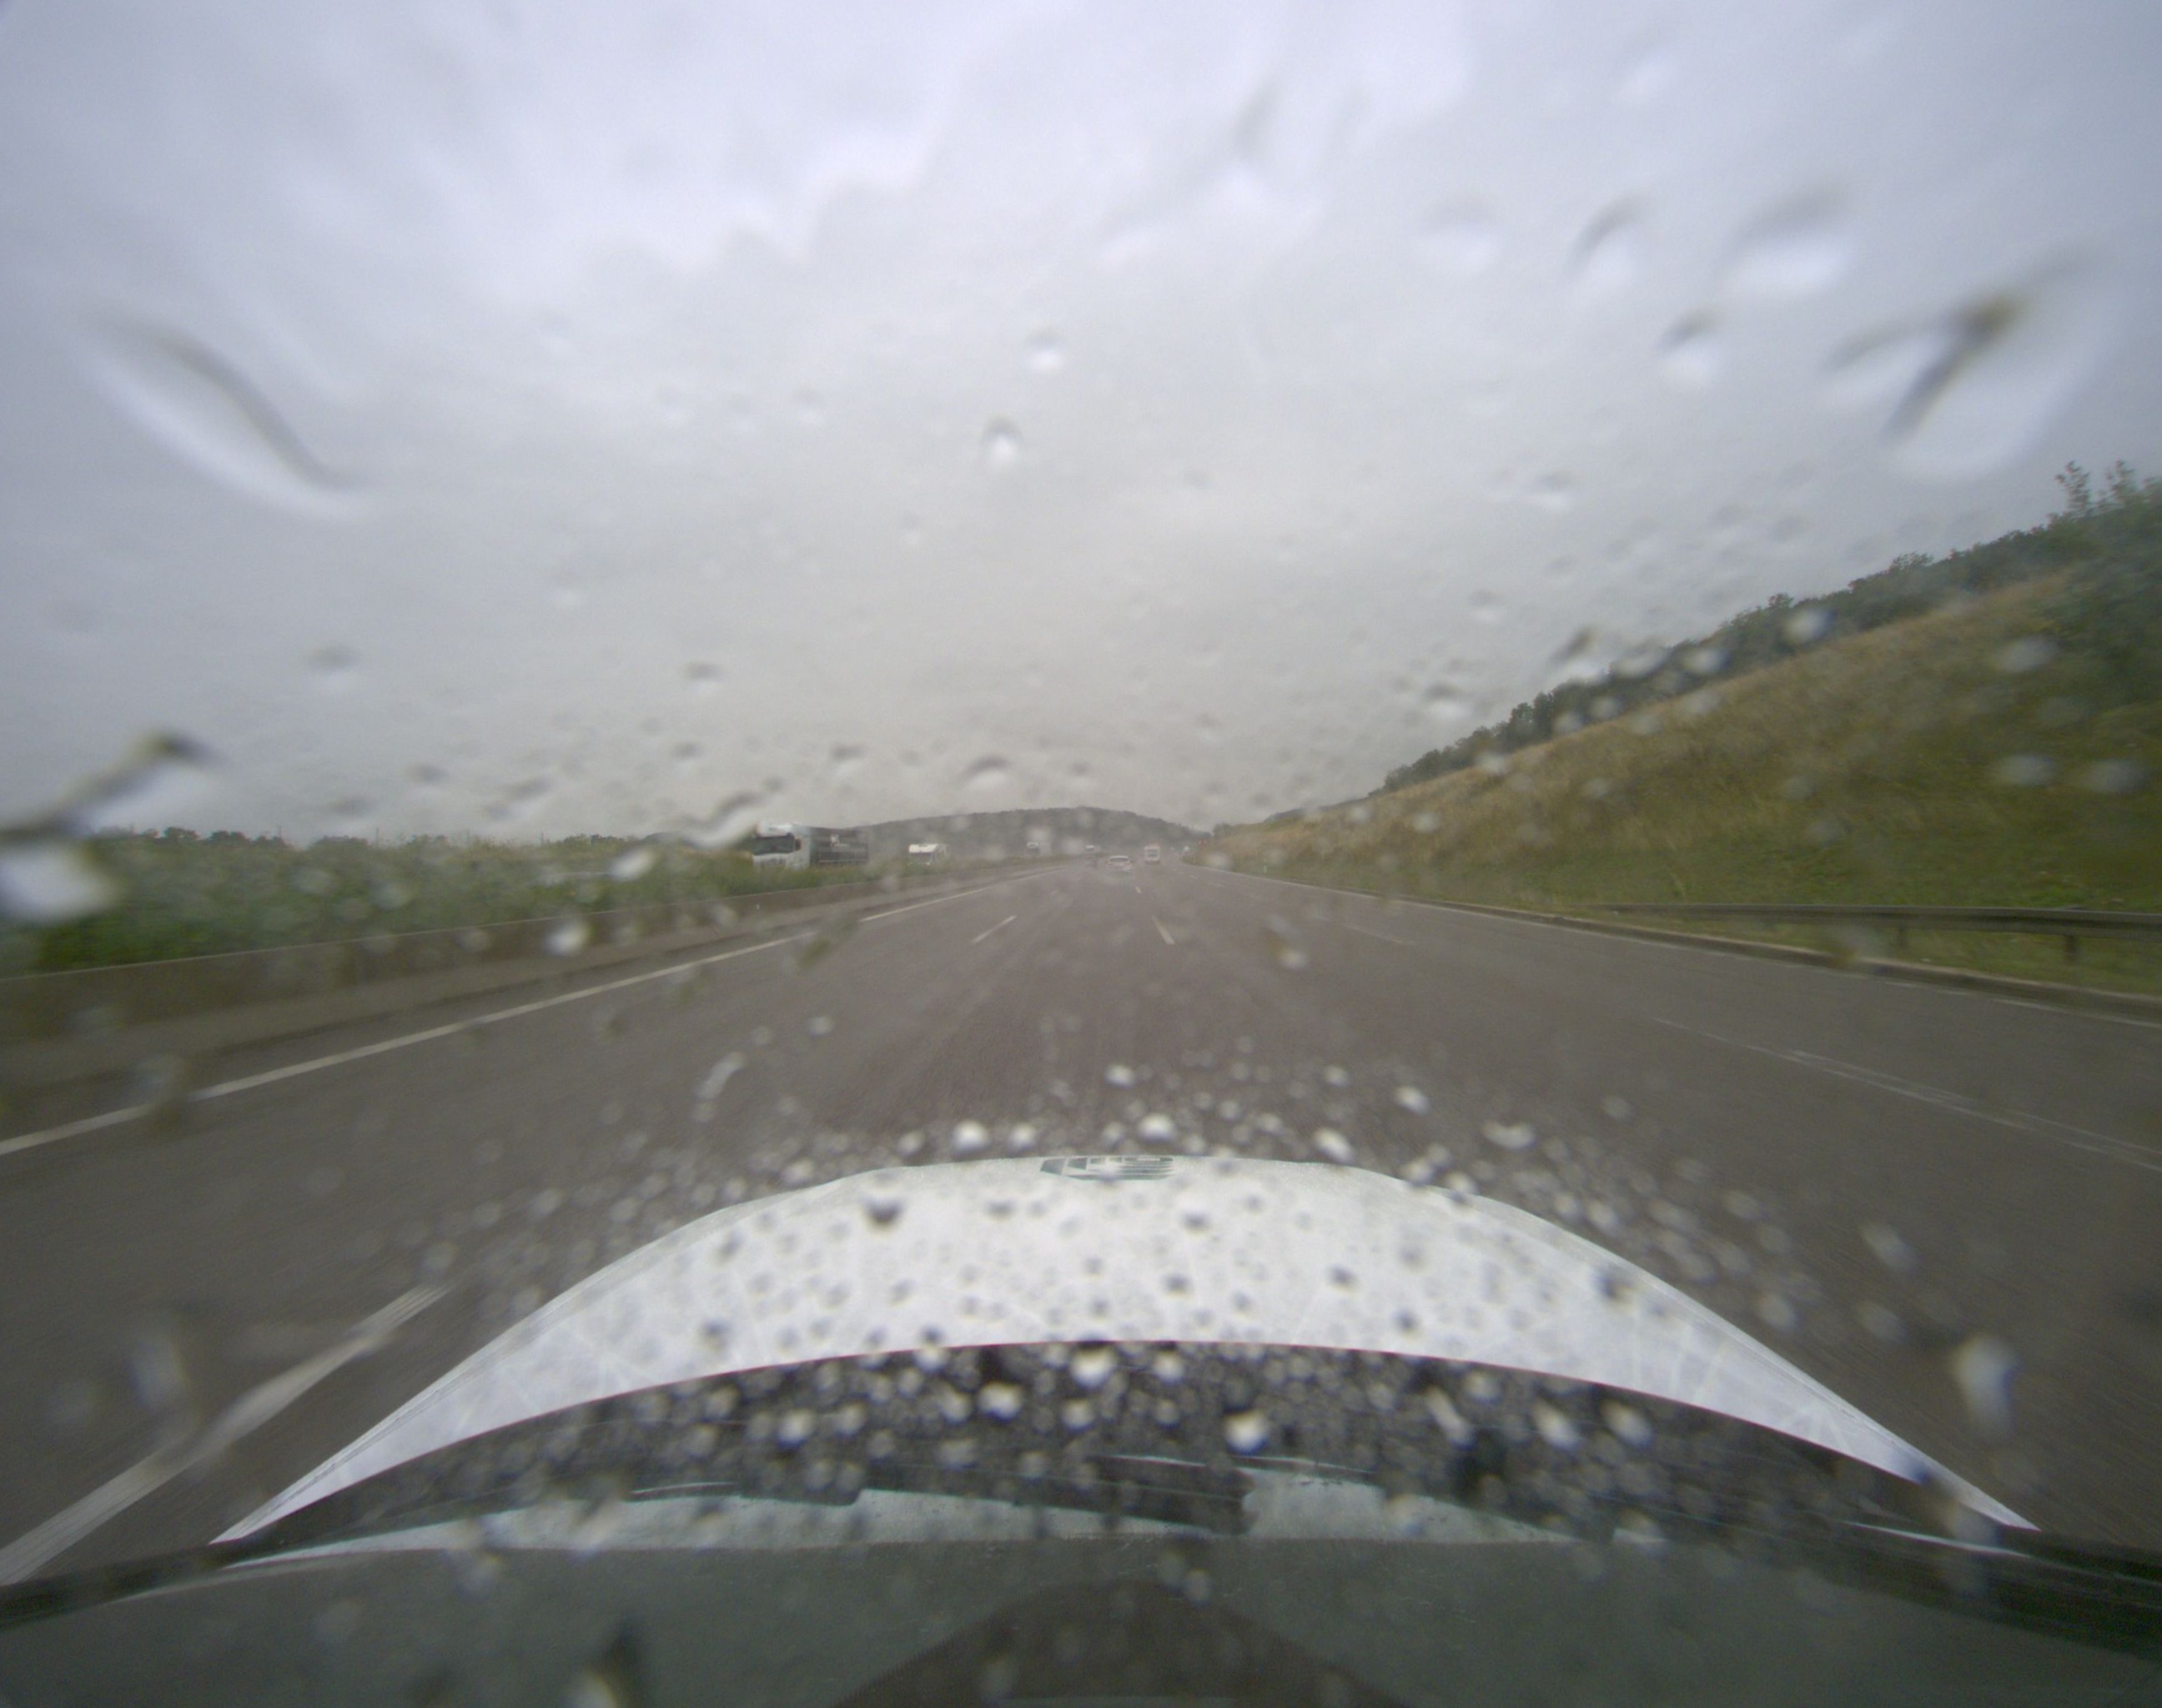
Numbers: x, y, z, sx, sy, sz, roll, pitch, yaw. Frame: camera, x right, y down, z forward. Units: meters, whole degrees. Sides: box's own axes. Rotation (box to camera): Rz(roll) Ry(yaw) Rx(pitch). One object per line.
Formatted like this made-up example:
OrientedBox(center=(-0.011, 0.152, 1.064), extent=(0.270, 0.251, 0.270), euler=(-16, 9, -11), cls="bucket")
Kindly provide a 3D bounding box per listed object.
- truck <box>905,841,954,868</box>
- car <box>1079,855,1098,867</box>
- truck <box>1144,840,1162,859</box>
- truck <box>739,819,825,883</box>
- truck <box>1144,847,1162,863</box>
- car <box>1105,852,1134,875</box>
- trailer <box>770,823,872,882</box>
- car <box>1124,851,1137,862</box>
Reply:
OrientedBox(center=(-12.886, 0.084, 69.917), extent=(2.464, 2.155, 7.429), euler=(-1, -1, 3), cls="truck")
OrientedBox(center=(0.776, 0.766, 88.164), extent=(1.819, 1.156, 4.208), euler=(-1, -1, -3), cls="car")
OrientedBox(center=(14.721, -0.974, 167.668), extent=(3.512, 3.742, 11.438), euler=(-1, 1, 4), cls="truck")
OrientedBox(center=(-17.955, -0.099, 49.291), extent=(2.767, 3.608, 5.744), euler=(-1, -1, 4), cls="truck")
OrientedBox(center=(10.524, 0.136, 119.284), extent=(2.397, 2.252, 4.697), euler=(-1, 0, 4), cls="truck")
OrientedBox(center=(2.608, 0.670, 56.321), extent=(1.861, 1.463, 4.001), euler=(-1, -1, 1), cls="car")
OrientedBox(center=(-17.553, 0.042, 56.015), extent=(2.752, 3.621, 11.159), euler=(-1, -1, 4), cls="trailer")
OrientedBox(center=(7.566, 0.394, 124.886), extent=(1.986, 1.618, 4.002), euler=(-1, 0, 2), cls="car")
